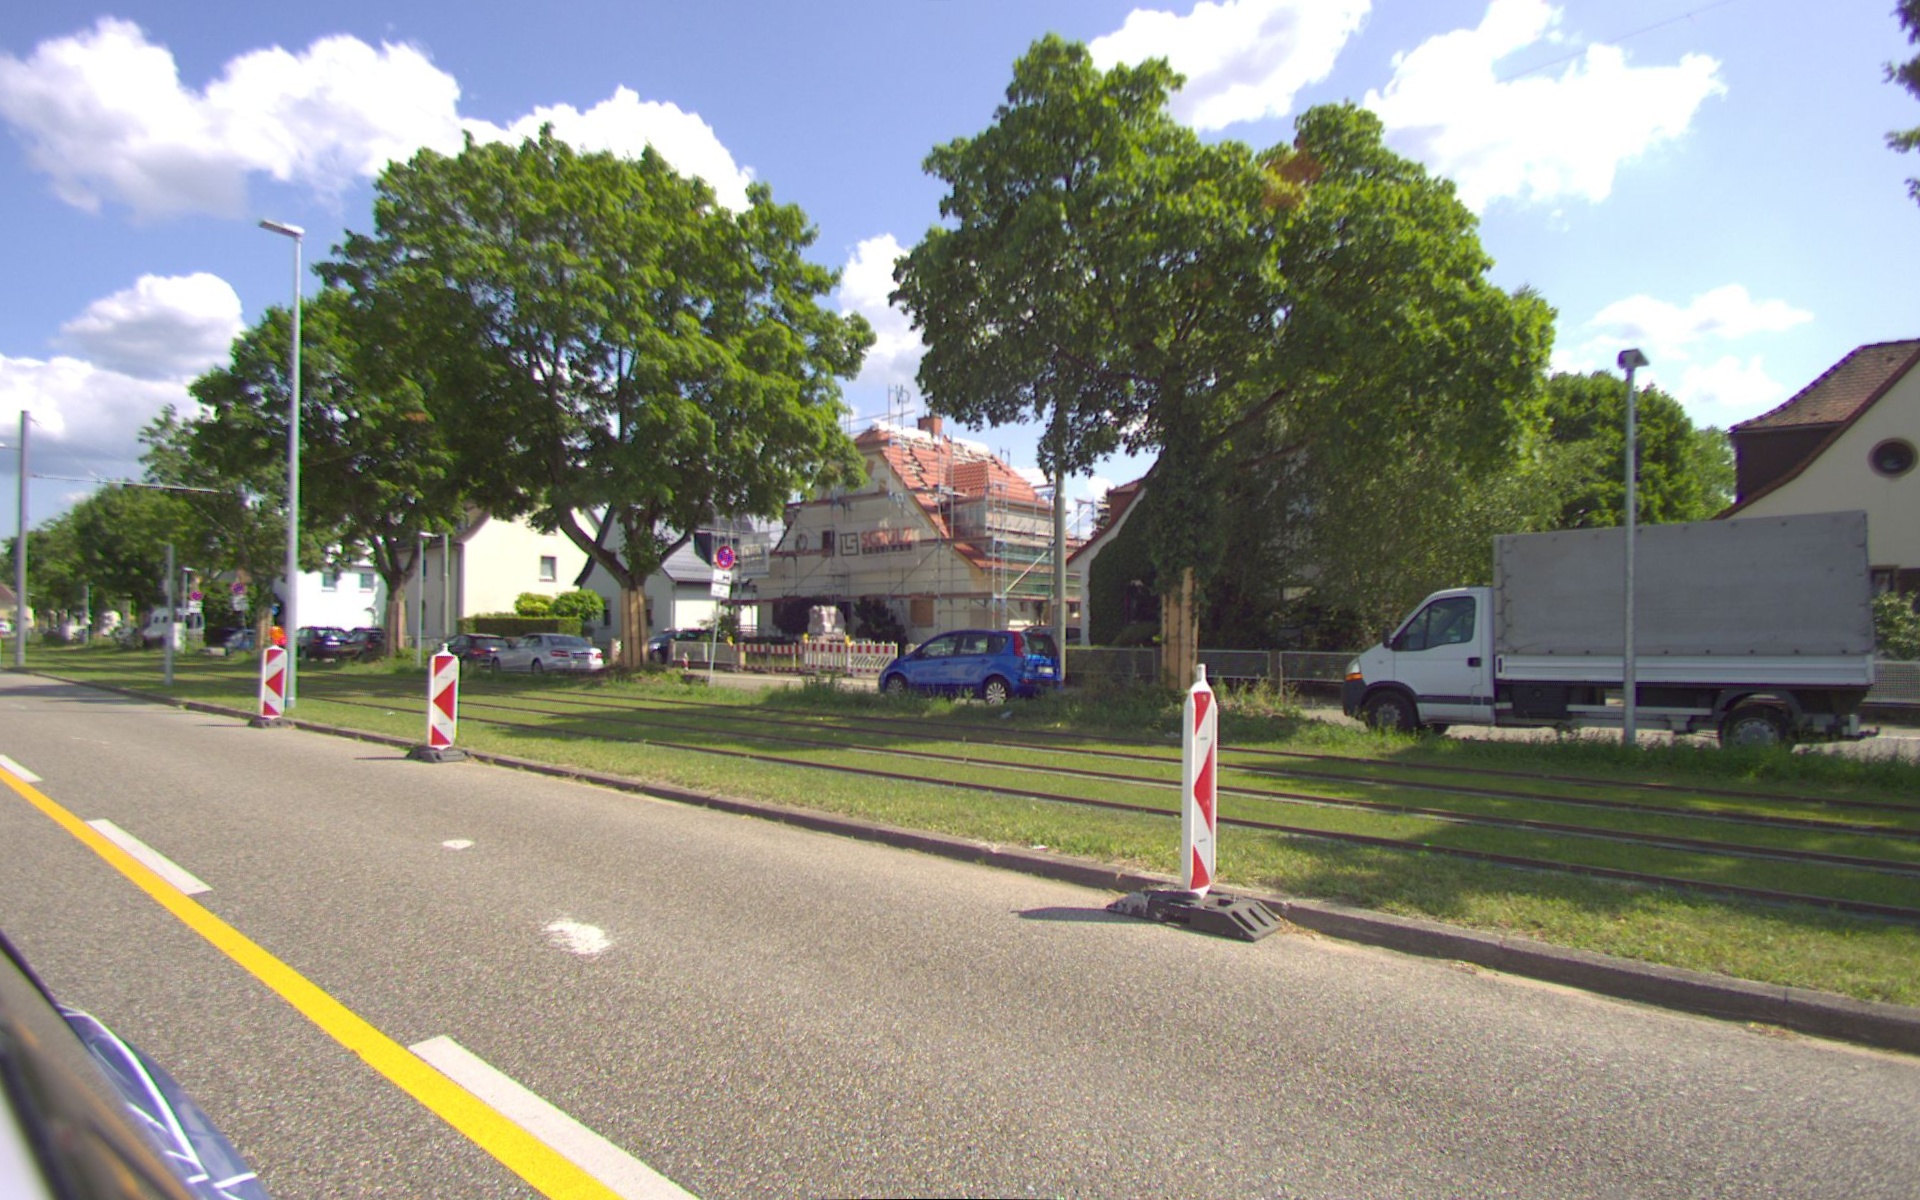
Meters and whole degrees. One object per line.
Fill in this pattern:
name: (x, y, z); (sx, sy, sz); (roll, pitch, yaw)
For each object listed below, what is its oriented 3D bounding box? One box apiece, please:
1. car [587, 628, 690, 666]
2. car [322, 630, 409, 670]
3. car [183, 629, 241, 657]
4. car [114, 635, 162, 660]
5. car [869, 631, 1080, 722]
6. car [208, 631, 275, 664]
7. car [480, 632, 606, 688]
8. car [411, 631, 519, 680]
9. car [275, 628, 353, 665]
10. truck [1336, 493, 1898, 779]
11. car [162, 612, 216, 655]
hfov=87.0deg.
car: (-14.088, 2.047, 44.510); (1.756, 1.623, 3.995); (-2, -3, 41)
car: (-25.189, 2.073, 42.829); (4.603, 1.623, 1.733); (-2, -3, 40)
car: (-44.652, 2.551, 60.405); (4.603, 1.623, 1.733); (-2, -3, 40)
car: (-57.030, 3.265, 70.150); (4.603, 1.623, 1.733); (-2, -3, 40)
car: (0.215, 1.445, 20.197); (4.047, 1.623, 1.733); (-2, -3, 40)
car: (-37.651, 2.467, 52.980); (4.603, 1.623, 1.733); (-2, -3, 40)
car: (-13.178, 1.831, 31.863); (4.603, 1.623, 1.733); (-2, -3, 40)
car: (-17.619, 1.915, 35.933); (4.603, 1.623, 1.733); (-2, -3, 40)
car: (-29.608, 2.097, 46.332); (4.603, 1.623, 1.733); (-2, -3, 40)
truck: (8.270, 0.467, 13.358); (5.871, 3.010, 1.982); (-2, -3, 41)
car: (-48.846, 2.104, 64.103); (4.603, 2.636, 1.733); (-2, -3, 40)
